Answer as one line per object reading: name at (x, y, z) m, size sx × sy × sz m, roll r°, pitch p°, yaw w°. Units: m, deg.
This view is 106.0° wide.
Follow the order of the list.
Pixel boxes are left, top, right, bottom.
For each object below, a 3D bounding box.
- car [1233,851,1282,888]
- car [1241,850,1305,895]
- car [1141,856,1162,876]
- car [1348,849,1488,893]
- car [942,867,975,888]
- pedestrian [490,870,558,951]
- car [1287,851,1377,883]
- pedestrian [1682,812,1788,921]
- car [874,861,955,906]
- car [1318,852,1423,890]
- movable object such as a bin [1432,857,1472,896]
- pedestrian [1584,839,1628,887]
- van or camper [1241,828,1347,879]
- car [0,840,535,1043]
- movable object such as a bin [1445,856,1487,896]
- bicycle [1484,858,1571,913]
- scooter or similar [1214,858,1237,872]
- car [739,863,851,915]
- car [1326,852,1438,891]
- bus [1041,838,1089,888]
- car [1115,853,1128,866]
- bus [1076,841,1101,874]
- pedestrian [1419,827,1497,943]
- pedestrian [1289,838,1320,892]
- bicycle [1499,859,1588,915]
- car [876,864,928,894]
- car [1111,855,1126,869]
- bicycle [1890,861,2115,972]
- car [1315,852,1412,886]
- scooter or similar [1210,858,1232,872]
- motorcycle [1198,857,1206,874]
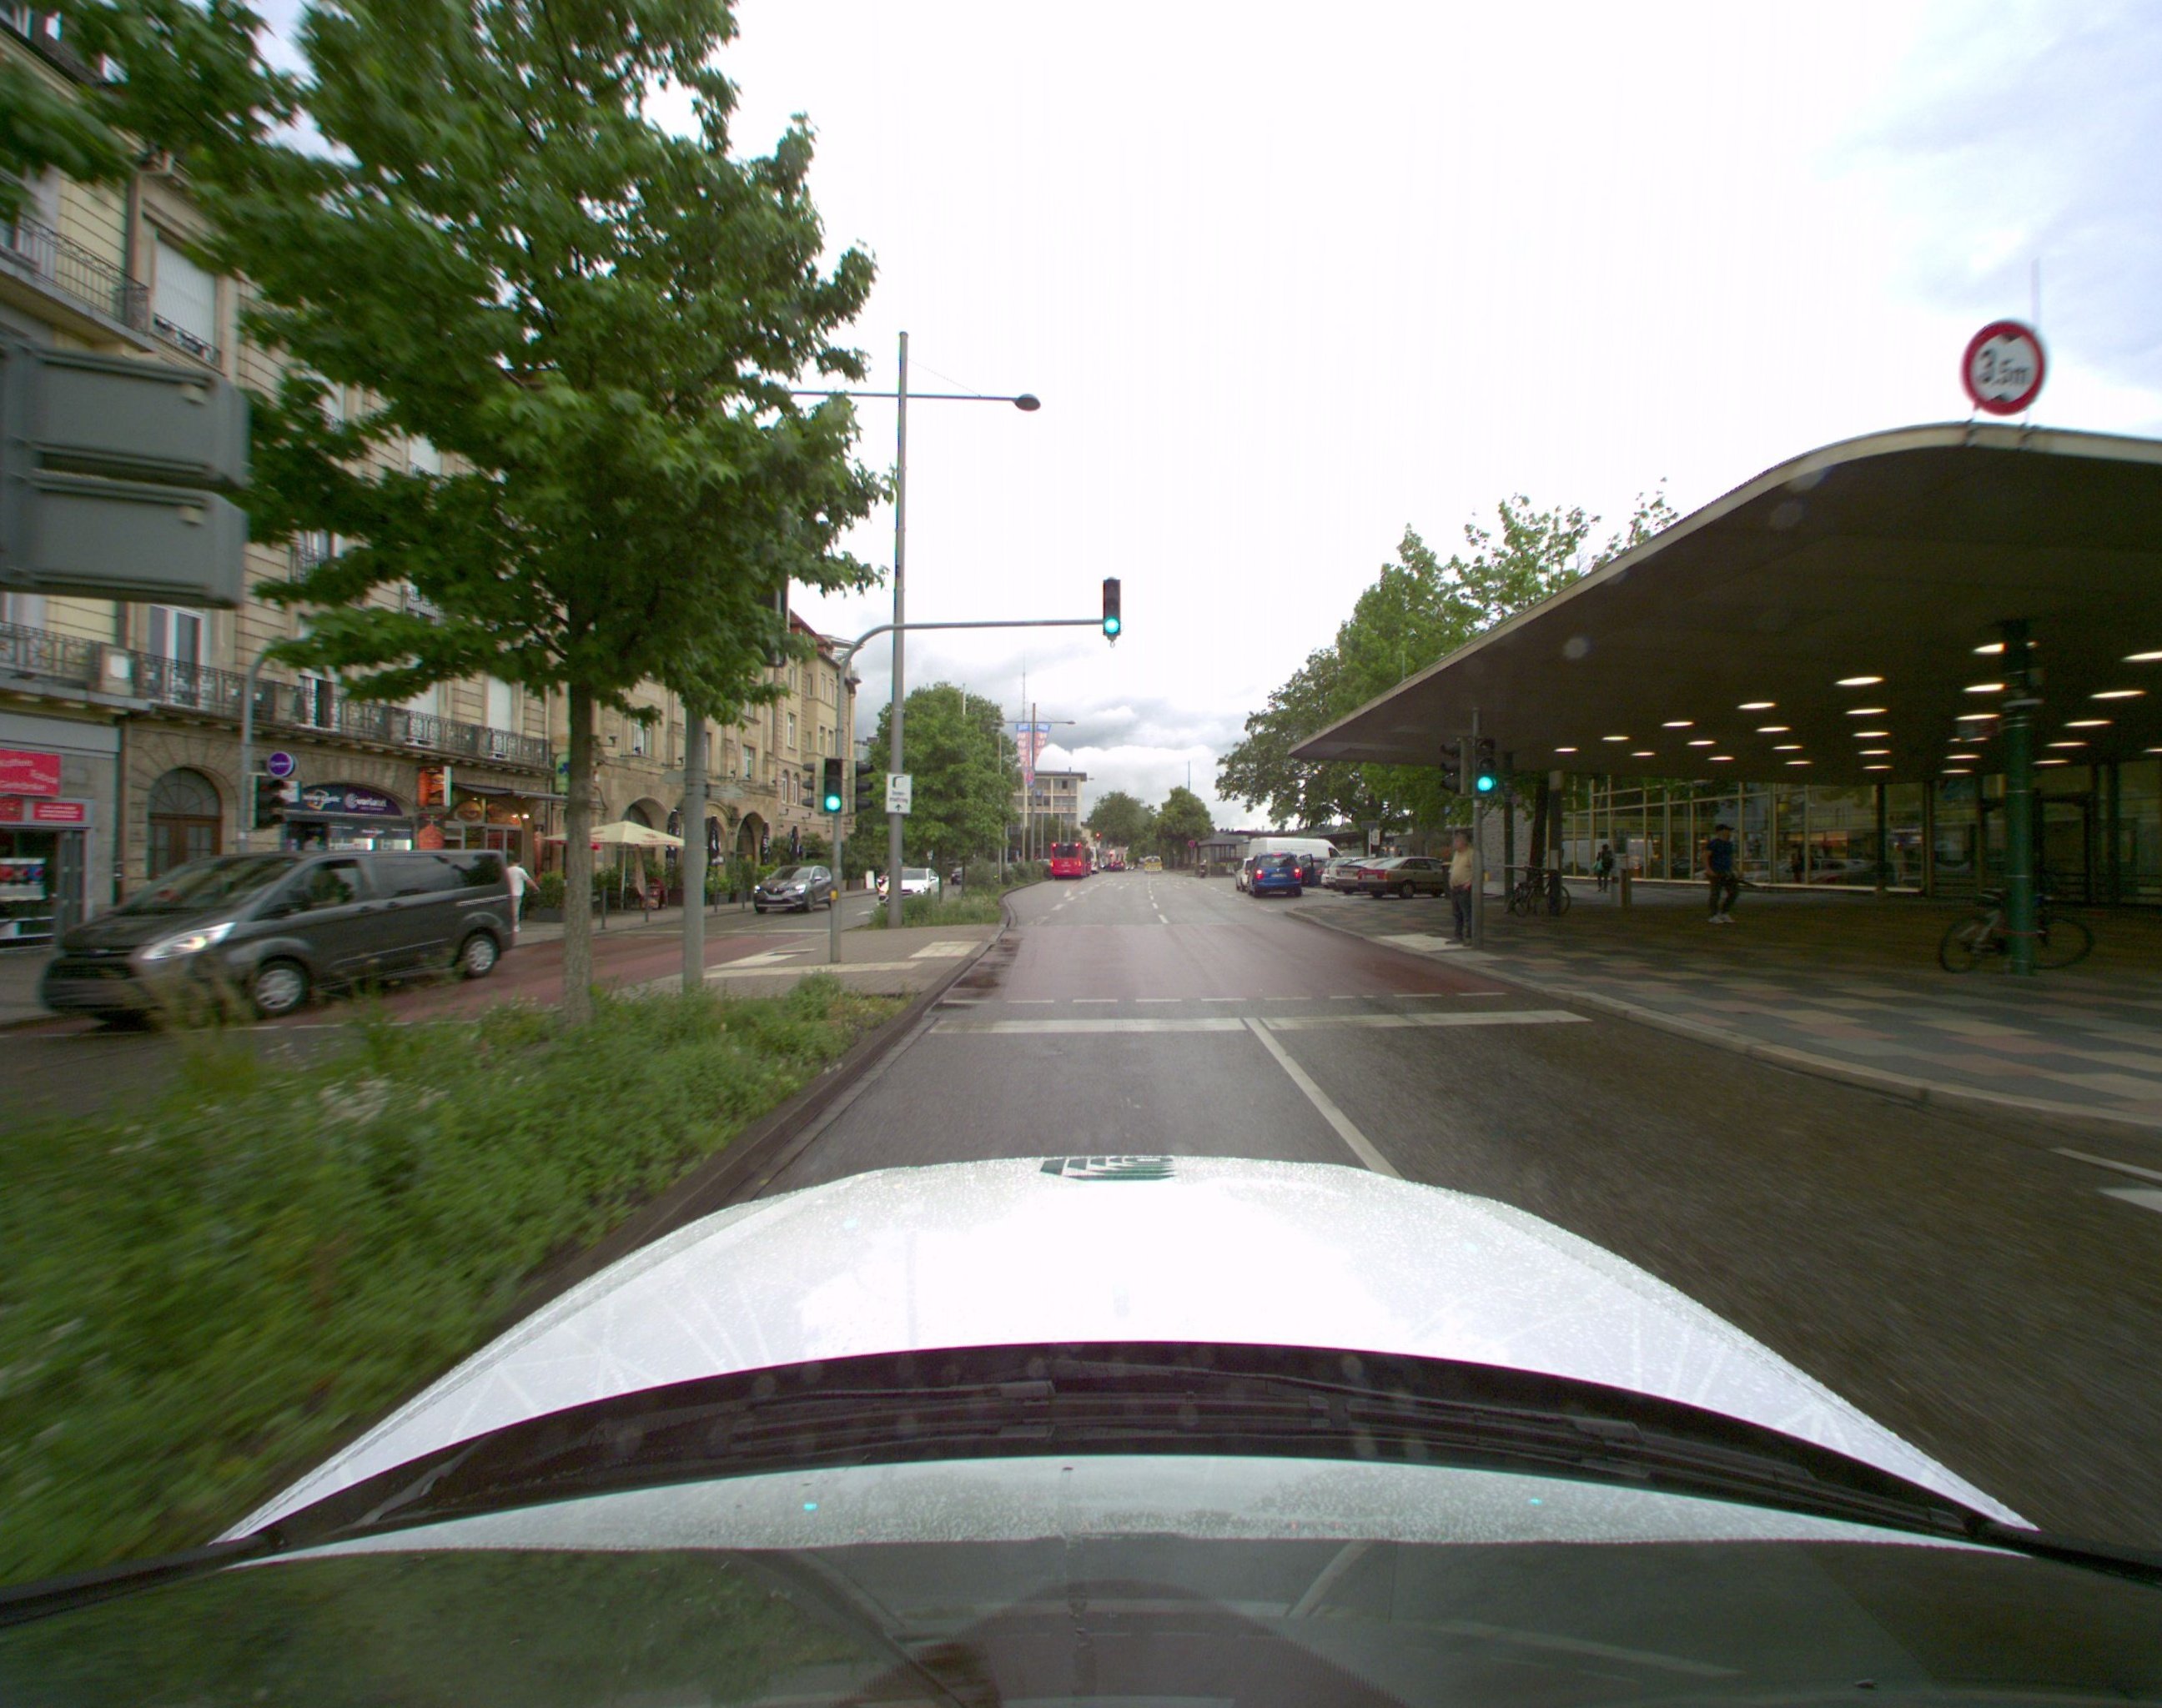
car at (7.934, 0.691, 36.862) m, size 1.778 × 1.523 × 3.688 m, roll -2°, pitch -1°, yaw 7°
car at (7.211, 0.691, 30.918) m, size 1.849 × 1.569 × 4.006 m, roll -2°, pitch -1°, yaw 6°
car at (7.862, 1.320, 91.047) m, size 1.986 × 2.013 × 5.063 m, roll -3°, pitch -1°, yaw 1°
car at (11.449, 0.562, 27.702) m, size 4.197 × 1.325 × 1.829 m, roll -1°, pitch -1°, yaw -18°
car at (-9.280, 1.786, 61.958) m, size 1.740 × 1.430 × 3.955 m, roll -3°, pitch -1°, yaw 2°
pedestrian at (-13.565, 1.362, 19.857) m, size 0.876 × 1.812 × 0.751 m, roll -9°, pitch -1°, yaw 1°
car at (12.312, 0.633, 39.903) m, size 4.006 × 1.443 × 1.849 m, roll -1°, pitch -1°, yaw -25°
pedestrian at (11.572, 0.225, 14.455) m, size 0.853 × 1.835 × 1.190 m, roll -2°, pitch -1°, yaw 1°
car at (-6.382, 1.080, 31.755) m, size 1.986 × 1.543 × 4.635 m, roll -3°, pitch -1°, yaw 2°
car at (12.162, 0.688, 34.202) m, size 4.006 × 1.443 × 1.849 m, roll -1°, pitch -1°, yaw -25°
movable object such as a bin at (10.924, 0.663, 23.978) m, size 0.751 × 1.095 × 0.746 m, roll -3°, pitch -1°, yaw -10°
pedestrian at (17.812, 0.309, 27.642) m, size 0.864 × 1.559 × 0.813 m, roll -3°, pitch -1°, yaw -5°
van or camper at (12.624, -0.030, 48.159) m, size 5.977 × 2.763 × 2.180 m, roll -2°, pitch -1°, yaw -26°
car at (-10.147, 0.926, 10.922) m, size 1.985 × 2.013 × 5.005 m, roll -3°, pitch -1°, yaw 3°
movable object such as a bin at (10.800, 0.611, 22.874) m, size 0.750 × 1.067 × 0.747 m, roll -3°, pitch -1°, yaw -7°
bicycle at (9.537, 0.657, 17.398) m, size 1.831 × 1.056 × 0.418 m, roll -3°, pitch -1°, yaw -17°
scooter or similar at (11.973, 0.915, 67.412) m, size 2.161 × 1.110 × 0.438 m, roll -2°, pitch 0°, yaw -38°
car at (-9.671, 1.117, 27.967) m, size 1.986 × 1.543 × 4.635 m, roll -3°, pitch -1°, yaw 2°
car at (11.602, 0.667, 31.365) m, size 4.011 × 1.359 × 1.847 m, roll -1°, pitch -1°, yaw -29°
bus at (-1.295, 0.784, 73.299) m, size 3.531 × 3.979 × 11.176 m, roll -3°, pitch -1°, yaw 2°
car at (6.688, 0.957, 134.141) m, size 1.986 × 2.013 × 4.002 m, roll -3°, pitch -1°, yaw 2°
bus at (0.914, 0.471, 99.541) m, size 2.796 × 3.746 × 10.444 m, roll -2°, pitch -1°, yaw 0°
pedestrian at (5.952, 0.475, 12.892) m, size 0.745 × 1.747 × 0.834 m, roll -2°, pitch -1°, yaw -6°
pedestrian at (8.578, 0.419, 31.293) m, size 0.829 × 2.014 × 0.888 m, roll -3°, pitch -1°, yaw -3°
bicycle at (9.633, 0.666, 16.948) m, size 1.831 × 1.056 × 0.418 m, roll -3°, pitch -1°, yaw -17°
car at (-9.566, 1.307, 43.749) m, size 1.740 × 1.430 × 3.955 m, roll -3°, pitch -1°, yaw 2°
car at (5.447, 1.181, 118.637) m, size 1.986 × 2.013 × 4.002 m, roll -3°, pitch -1°, yaw 2°
bicycle at (9.736, 0.649, 8.635) m, size 1.821 × 1.056 × 0.420 m, roll -3°, pitch -1°, yaw 1°
car at (12.898, 0.677, 37.207) m, size 4.006 × 1.443 × 1.849 m, roll -1°, pitch -1°, yaw -25°
scooter or similar at (11.644, 0.937, 67.787) m, size 2.161 × 1.110 × 0.423 m, roll -2°, pitch 0°, yaw -38°
motorcycle at (9.665, 0.892, 65.115) m, size 0.592 × 1.288 × 1.957 m, roll -2°, pitch 0°, yaw 8°
